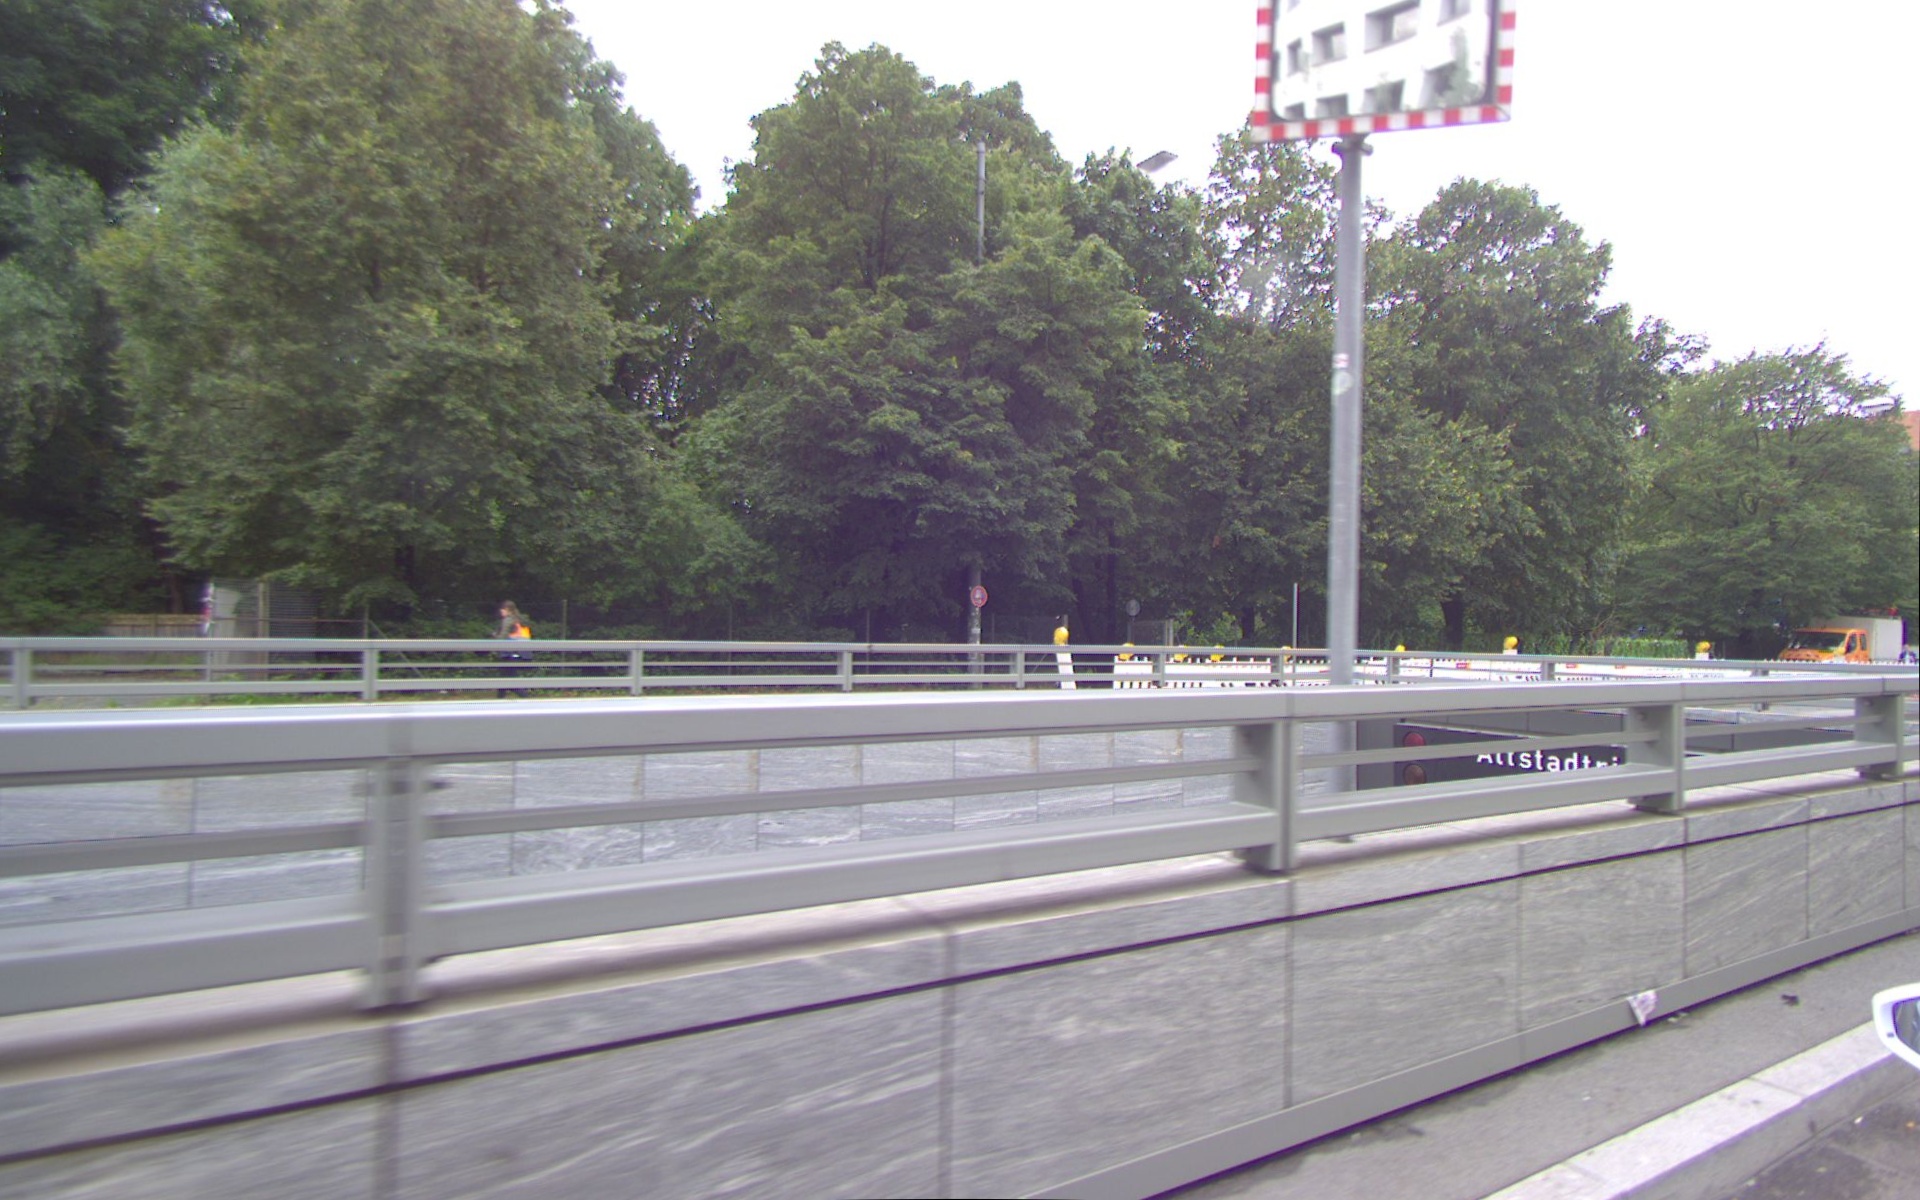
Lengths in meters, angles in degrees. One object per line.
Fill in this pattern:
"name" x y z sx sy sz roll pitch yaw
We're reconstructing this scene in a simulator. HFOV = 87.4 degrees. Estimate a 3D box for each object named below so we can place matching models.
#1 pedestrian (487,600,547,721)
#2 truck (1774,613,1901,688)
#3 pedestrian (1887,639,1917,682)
"pedestrian" -6.302 0.841 14.282 0.689 1.663 0.660 2 -1 -29
"truck" 34.617 1.989 39.580 5.800 2.764 1.985 2 -2 -30
"pedestrian" 36.712 2.343 39.140 0.689 1.624 0.660 2 -1 -29
